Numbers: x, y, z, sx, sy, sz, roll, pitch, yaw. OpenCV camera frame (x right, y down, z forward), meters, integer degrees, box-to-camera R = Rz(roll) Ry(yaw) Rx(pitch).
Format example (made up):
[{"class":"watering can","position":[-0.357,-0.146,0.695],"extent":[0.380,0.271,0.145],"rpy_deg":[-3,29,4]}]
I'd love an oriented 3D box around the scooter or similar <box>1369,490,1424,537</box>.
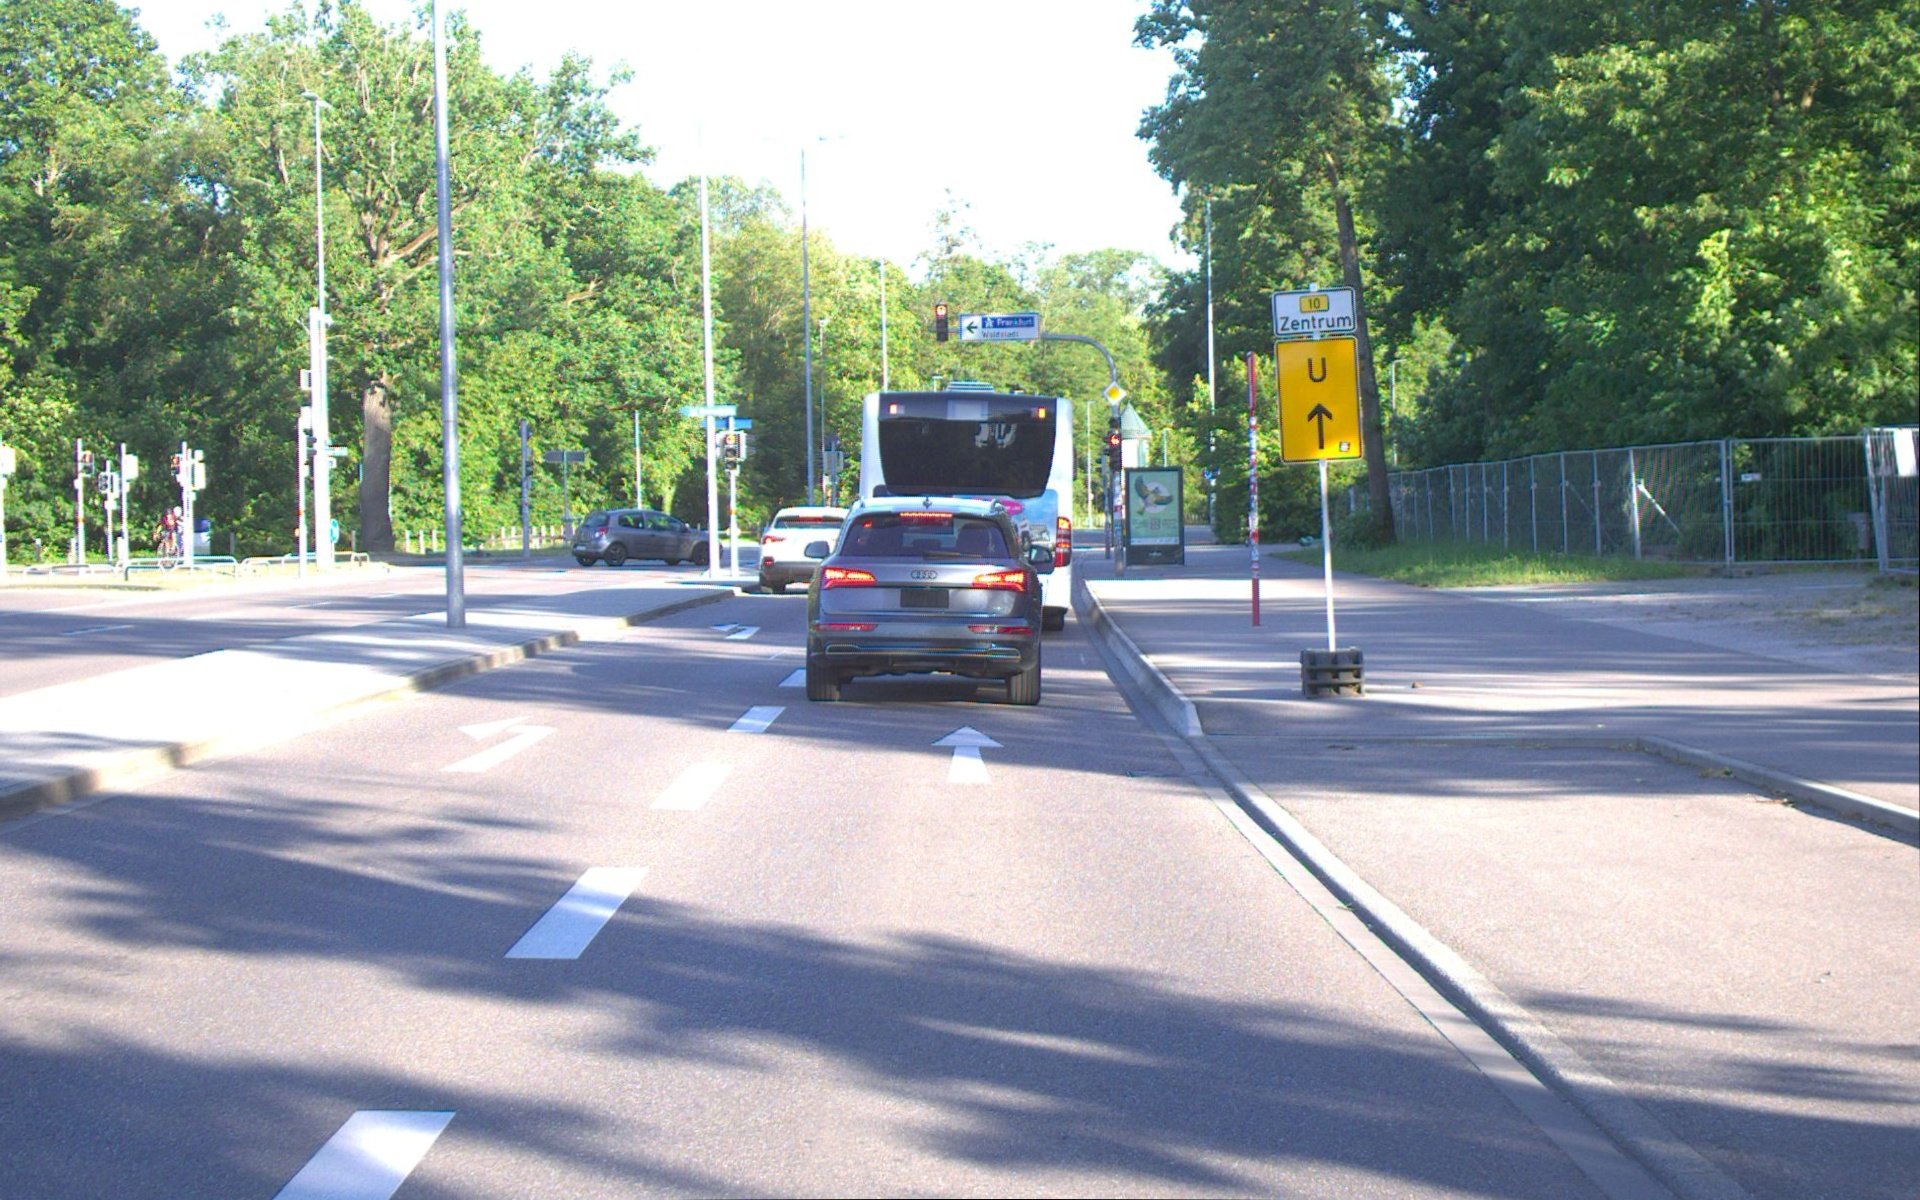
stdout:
[{"class":"scooter or similar","position":[14.747,-2.914,116.294],"extent":[0.539,1.562,2.022],"rpy_deg":[-3,2,-38]}]

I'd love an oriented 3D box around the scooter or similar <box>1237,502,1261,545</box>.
[{"class":"scooter or similar","position":[9.881,-2.622,117.601],"extent":[0.508,1.439,2.023],"rpy_deg":[-2,2,-4]}]

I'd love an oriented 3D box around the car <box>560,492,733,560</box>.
[{"class":"car","position":[-8.147,-1.915,89.378],"extent":[3.986,1.634,2.066],"rpy_deg":[-2,2,-24]}]

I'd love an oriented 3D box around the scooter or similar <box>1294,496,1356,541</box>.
[{"class":"scooter or similar","position":[12.220,-2.720,115.122],"extent":[2.015,1.439,0.606],"rpy_deg":[-2,2,-23]}]

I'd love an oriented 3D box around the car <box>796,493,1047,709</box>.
[{"class":"car","position":[-0.260,-0.054,28.408],"extent":[1.898,1.626,4.000],"rpy_deg":[1,2,1]}]

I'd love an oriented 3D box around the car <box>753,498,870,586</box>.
[{"class":"car","position":[-2.621,-1.065,61.531],"extent":[1.836,1.513,4.000],"rpy_deg":[0,2,1]}]

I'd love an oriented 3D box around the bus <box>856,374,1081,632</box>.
[{"class":"bus","position":[0.187,-1.229,44.715],"extent":[2.595,2.978,9.327],"rpy_deg":[1,1,1]}]
